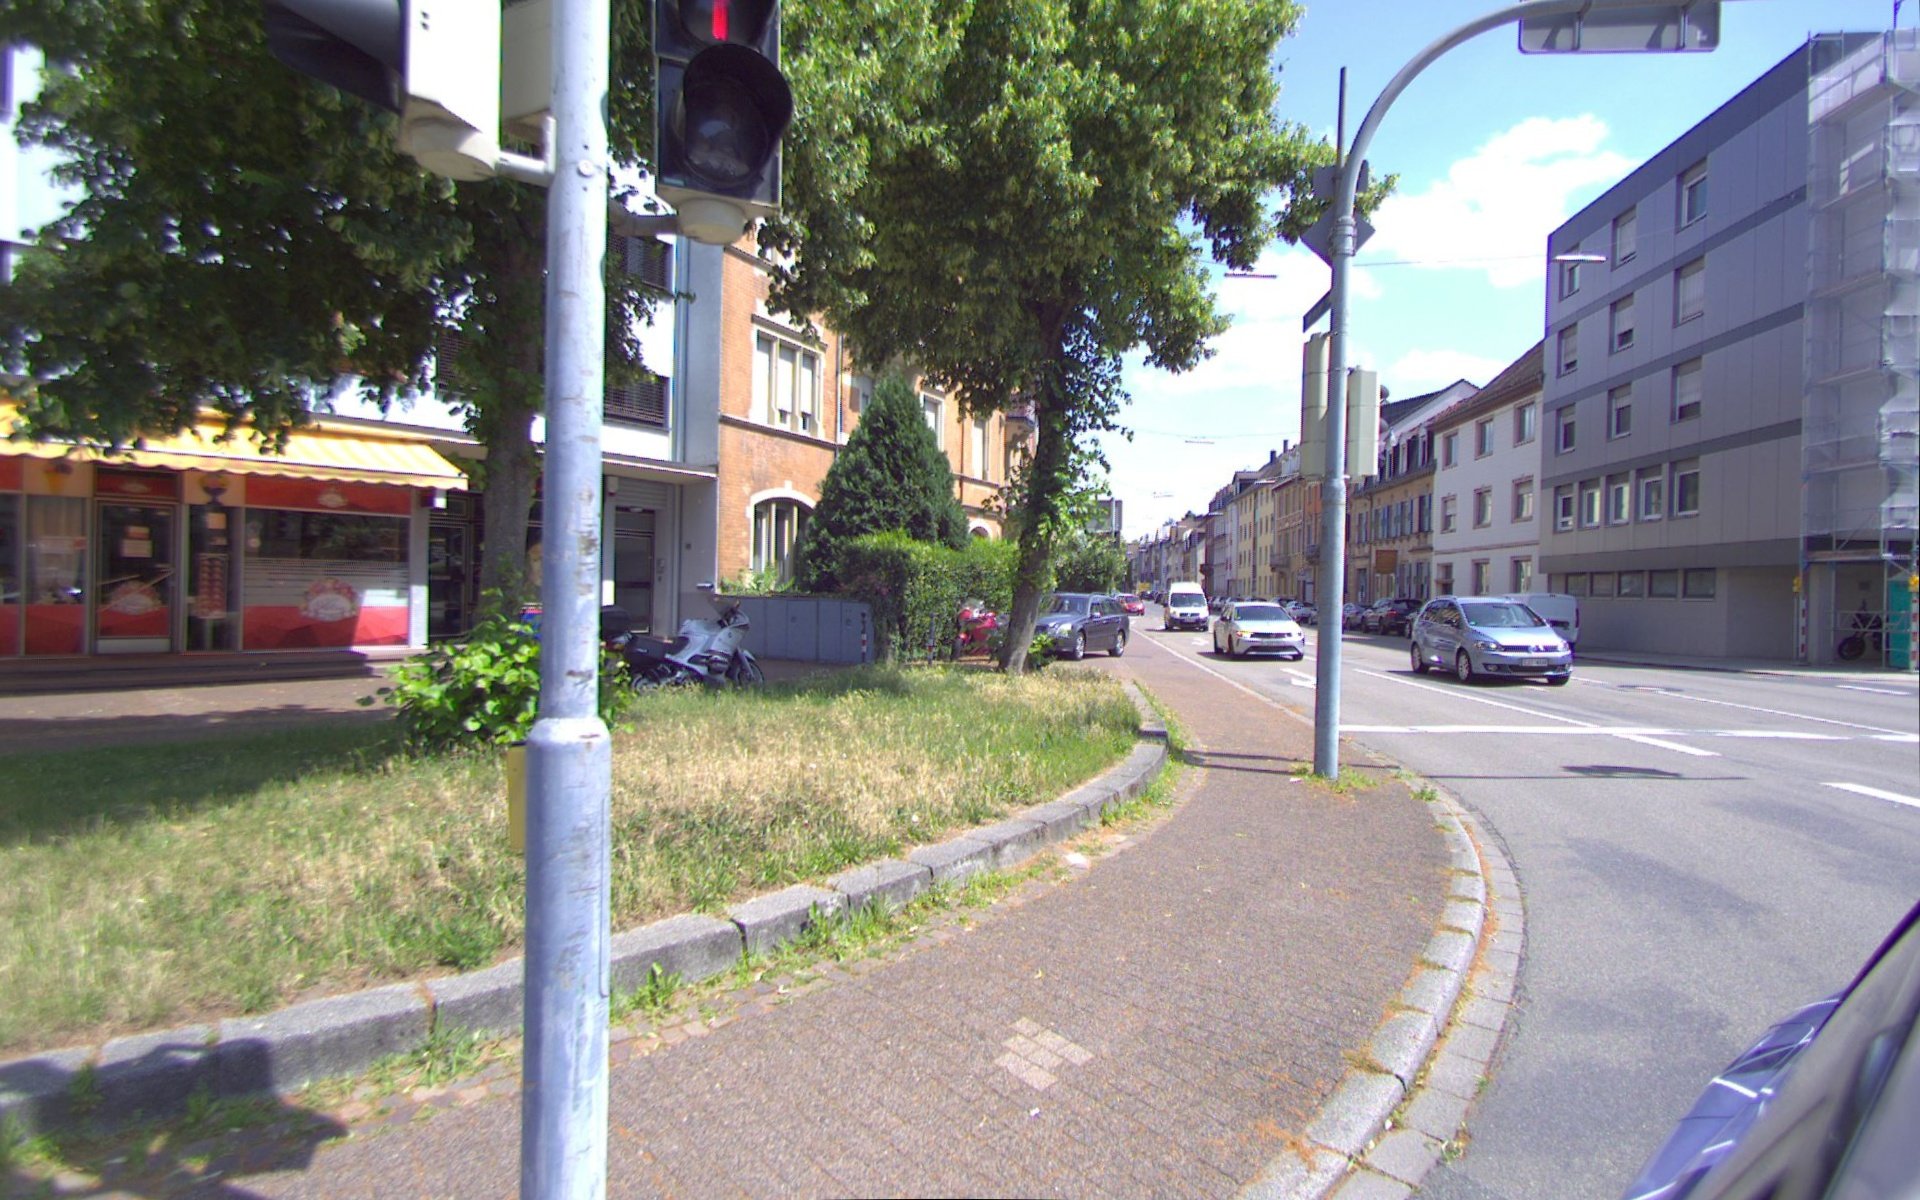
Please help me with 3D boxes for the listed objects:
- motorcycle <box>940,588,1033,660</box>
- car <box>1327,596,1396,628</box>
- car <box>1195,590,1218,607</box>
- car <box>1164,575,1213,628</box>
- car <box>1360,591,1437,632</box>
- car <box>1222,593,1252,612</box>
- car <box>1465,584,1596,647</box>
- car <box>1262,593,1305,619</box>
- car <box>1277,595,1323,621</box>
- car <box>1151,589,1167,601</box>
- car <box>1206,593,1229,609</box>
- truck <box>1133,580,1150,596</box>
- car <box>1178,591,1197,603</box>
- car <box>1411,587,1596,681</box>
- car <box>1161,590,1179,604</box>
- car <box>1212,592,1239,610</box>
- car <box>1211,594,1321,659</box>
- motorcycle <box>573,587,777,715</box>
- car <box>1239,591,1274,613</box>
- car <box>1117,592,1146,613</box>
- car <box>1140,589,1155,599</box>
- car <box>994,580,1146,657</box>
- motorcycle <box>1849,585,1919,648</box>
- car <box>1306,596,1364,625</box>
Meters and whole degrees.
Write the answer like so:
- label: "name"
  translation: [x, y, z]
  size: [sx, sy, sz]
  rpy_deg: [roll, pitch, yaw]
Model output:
- label: "motorcycle"
  translation: [0.564, 0.465, 20.079]
  size: [0.925, 1.319, 2.258]
  rpy_deg: [1, -1, 28]
- label: "car"
  translation: [20.726, 0.582, 52.408]
  size: [1.838, 1.424, 4.833]
  rpy_deg: [4, 1, 4]
- label: "car"
  translation: [26.776, -0.140, 109.982]
  size: [1.731, 1.607, 3.922]
  rpy_deg: [4, 1, 22]
- label: "car"
  translation: [10.573, 0.016, 47.099]
  size: [1.875, 2.303, 5.656]
  rpy_deg: [0, 1, 10]
- label: "car"
  translation: [19.689, 0.483, 45.644]
  size: [1.859, 1.661, 4.808]
  rpy_deg: [2, 1, 7]
- label: "car"
  translation: [25.098, 0.223, 91.876]
  size: [1.879, 1.469, 4.677]
  rpy_deg: [4, 1, 7]
- label: "car"
  translation: [18.674, 0.435, 33.393]
  size: [1.886, 1.848, 4.782]
  rpy_deg: [2, 1, 5]
- label: "car"
  translation: [22.788, 0.401, 71.446]
  size: [1.838, 1.648, 4.494]
  rpy_deg: [4, 1, 5]
- label: "car"
  translation: [22.240, 0.502, 66.368]
  size: [1.839, 1.443, 4.323]
  rpy_deg: [4, 1, 6]
- label: "car"
  translation: [25.750, -0.642, 131.041]
  size: [1.678, 1.496, 4.125]
  rpy_deg: [1, 1, 7]
- label: "car"
  translation: [26.292, 0.066, 103.371]
  size: [1.721, 1.428, 3.906]
  rpy_deg: [4, 1, 8]
- label: "truck"
  translation: [32.884, -2.256, 183.356]
  size: [2.284, 2.775, 8.056]
  rpy_deg: [1, 1, 6]
- label: "car"
  translation: [29.927, -0.364, 133.413]
  size: [1.719, 1.428, 4.101]
  rpy_deg: [4, 1, 4]
- label: "car"
  translation: [10.104, 0.557, 19.164]
  size: [1.730, 1.588, 3.992]
  rpy_deg: [0, 0, 7]
- label: "car"
  translation: [24.913, -0.372, 120.030]
  size: [1.678, 1.594, 4.303]
  rpy_deg: [1, 0, 7]
- label: "car"
  translation: [25.792, 0.084, 98.507]
  size: [1.839, 1.570, 4.306]
  rpy_deg: [4, 1, 6]
- label: "car"
  translation: [7.862, 0.611, 26.422]
  size: [1.873, 1.516, 4.481]
  rpy_deg: [0, 1, 5]
- label: "motorcycle"
  translation: [-3.237, 0.524, 11.724]
  size: [0.913, 1.329, 2.196]
  rpy_deg: [-1, 0, 36]
- label: "car"
  translation: [24.272, 0.136, 83.082]
  size: [1.838, 1.570, 4.494]
  rpy_deg: [4, 1, 5]
- label: "car"
  translation: [13.057, 0.174, 77.262]
  size: [1.731, 1.497, 3.780]
  rpy_deg: [-1, 0, 4]
- label: "car"
  translation: [28.380, -0.934, 153.329]
  size: [1.735, 1.513, 4.239]
  rpy_deg: [1, 1, 6]
- label: "car"
  translation: [2.693, 0.418, 23.496]
  size: [1.822, 1.568, 5.107]
  rpy_deg: [1, -1, 27]
- label: "motorcycle"
  translation: [22.685, 0.381, 24.249]
  size: [0.868, 1.490, 2.037]
  rpy_deg: [0, 0, -45]
- label: "car"
  translation: [21.388, 0.564, 57.948]
  size: [1.837, 1.424, 4.327]
  rpy_deg: [4, 1, 3]
